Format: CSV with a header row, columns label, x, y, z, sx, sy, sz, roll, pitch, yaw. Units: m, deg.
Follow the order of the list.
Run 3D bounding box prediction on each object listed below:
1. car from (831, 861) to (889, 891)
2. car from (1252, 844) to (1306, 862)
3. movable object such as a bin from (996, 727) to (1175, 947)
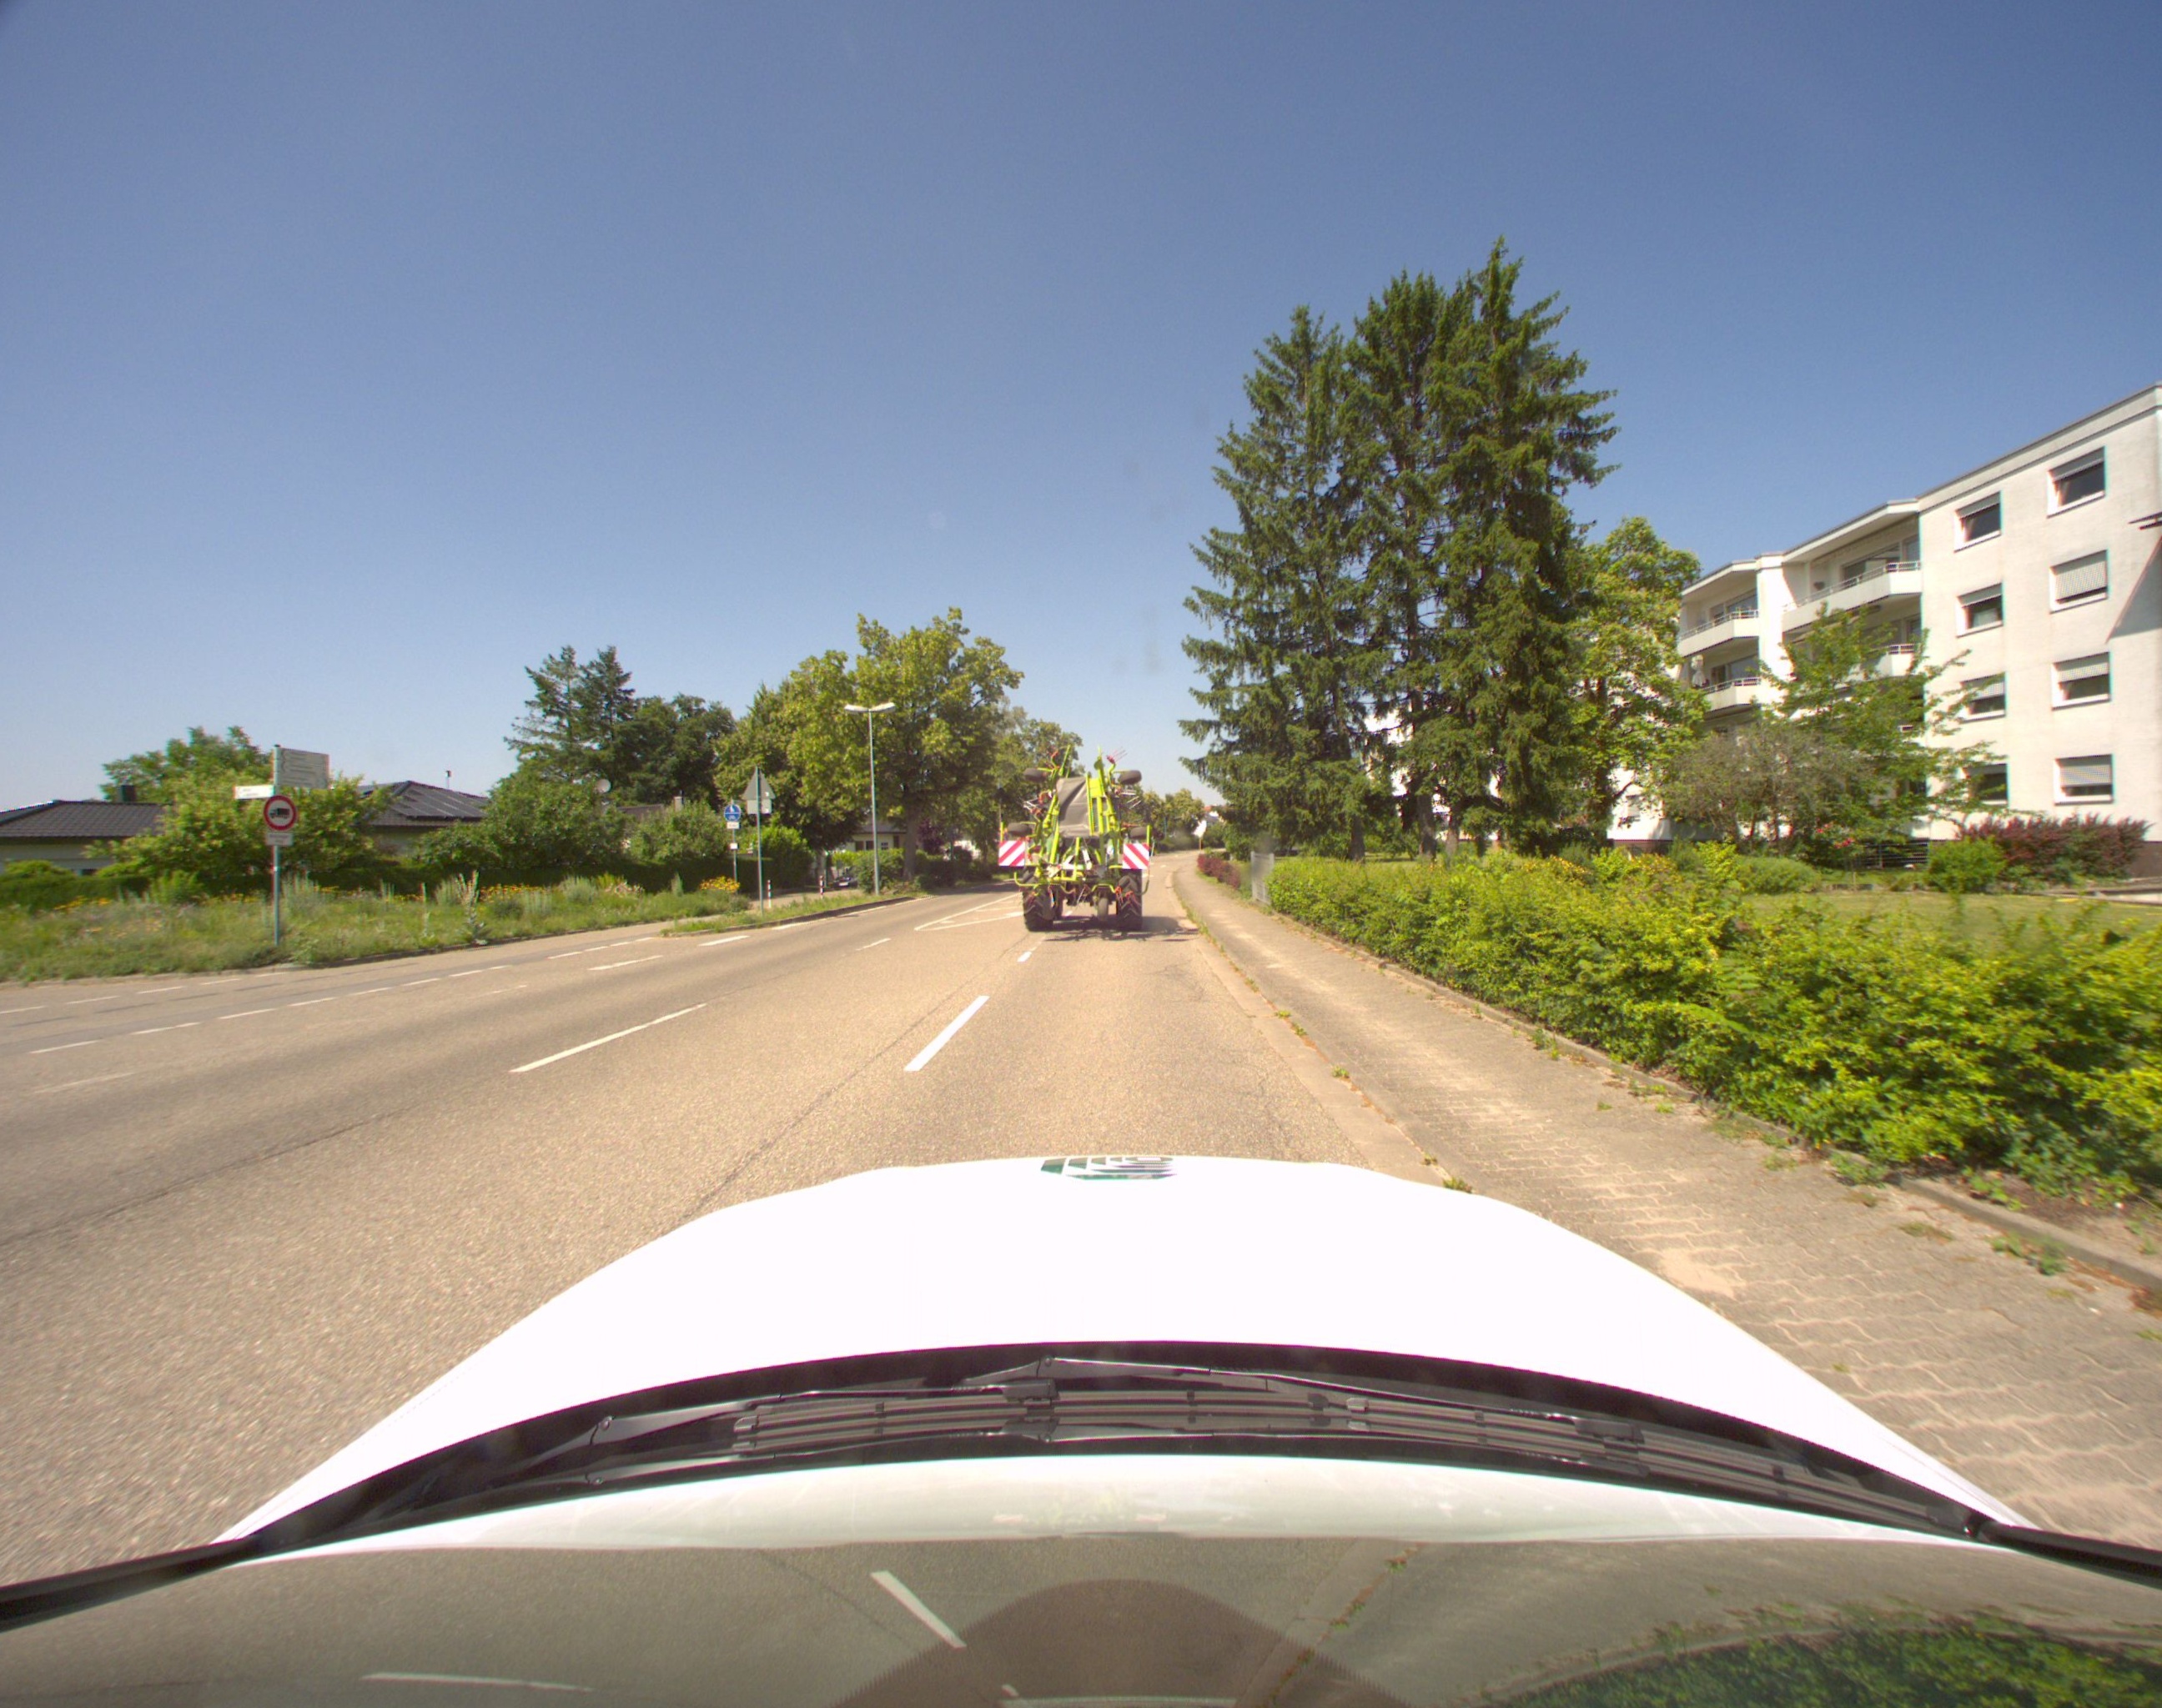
label,x,y,z,sx,sy,sz,roll,pitch,yaw
car,-12.315,1.174,45.623,1.679,1.530,4.009,-1,0,8
car,15.599,-0.091,64.359,3.811,1.294,1.678,-1,0,-10
movable object such as a bin,0.304,-0.262,18.239,2.841,3.541,9.707,-2,0,3
